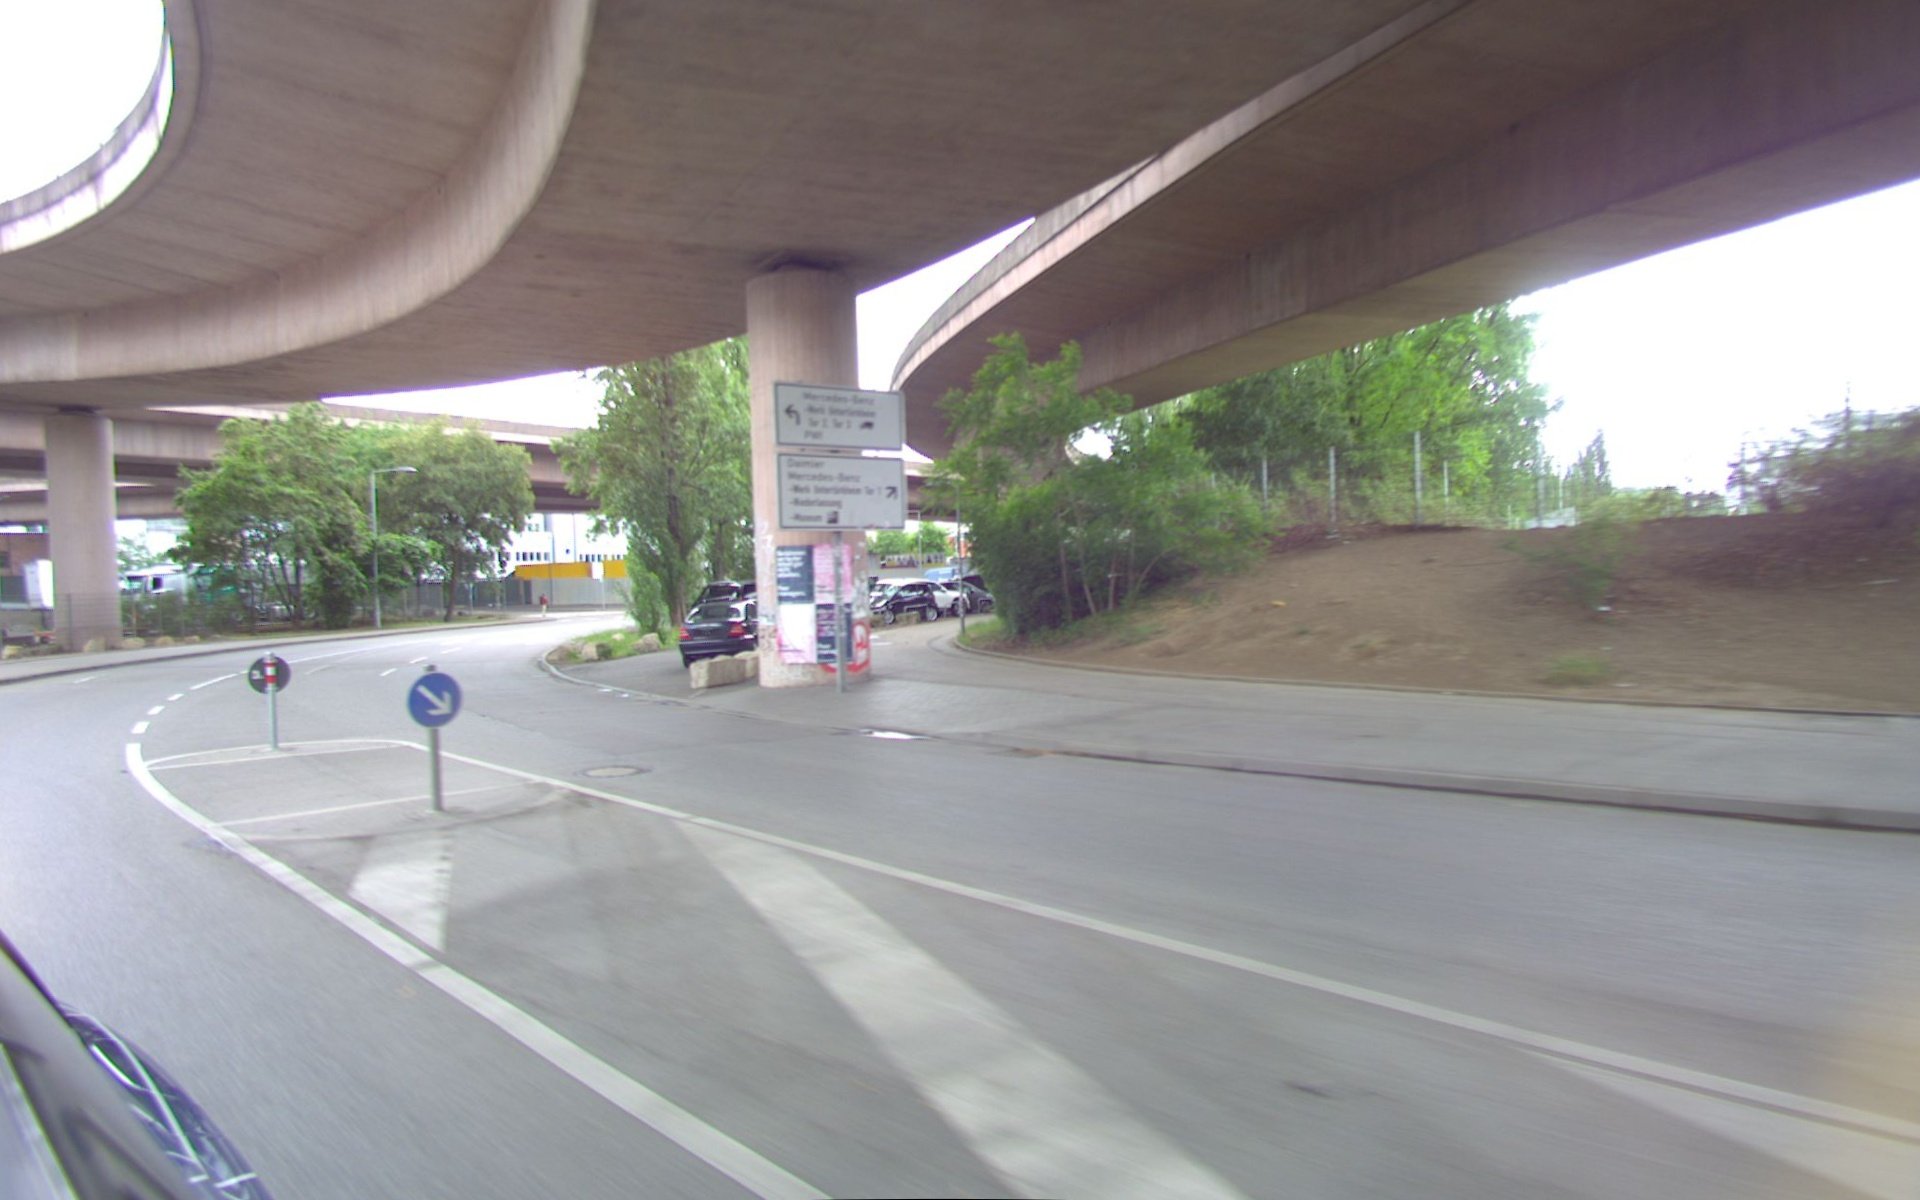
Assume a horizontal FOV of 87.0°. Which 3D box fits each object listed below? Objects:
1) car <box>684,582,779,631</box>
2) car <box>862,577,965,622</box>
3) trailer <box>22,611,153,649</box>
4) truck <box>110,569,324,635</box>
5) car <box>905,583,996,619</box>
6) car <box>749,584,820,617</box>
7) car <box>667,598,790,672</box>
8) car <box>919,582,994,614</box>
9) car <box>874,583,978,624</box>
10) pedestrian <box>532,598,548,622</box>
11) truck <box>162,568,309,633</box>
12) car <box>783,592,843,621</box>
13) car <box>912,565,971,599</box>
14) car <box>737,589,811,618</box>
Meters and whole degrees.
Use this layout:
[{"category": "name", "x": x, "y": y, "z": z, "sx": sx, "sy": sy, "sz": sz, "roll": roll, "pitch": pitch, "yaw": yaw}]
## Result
[{"category": "car", "x": -9.916, "y": 0.267, "z": 43.614, "sx": 1.828, "sy": 1.931, "sz": 4.981, "roll": -2, "pitch": 1, "yaw": -41}, {"category": "car", "x": -1.919, "y": -0.031, "z": 42.316, "sx": 3.998, "sy": 1.720, "sz": 1.739, "roll": -2, "pitch": 1, "yaw": -39}, {"category": "trailer", "x": -35.419, "y": 1.180, "z": 41.252, "sx": 1.583, "sy": 1.341, "sz": 4.383, "roll": -1, "pitch": 1, "yaw": -1}, {"category": "truck", "x": -42.892, "y": -0.003, "z": 59.002, "sx": 2.259, "sy": 3.524, "sz": 10.126, "roll": 0, "pitch": 1, "yaw": 26}, {"category": "car", "x": -0.414, "y": 0.012, "z": 46.006, "sx": 3.805, "sy": 1.475, "sz": 1.747, "roll": -2, "pitch": 1, "yaw": -35}, {"category": "car", "x": -9.656, "y": 0.003, "z": 55.446, "sx": 1.670, "sy": 1.686, "sz": 4.684, "roll": -2, "pitch": 2, "yaw": -41}, {"category": "car", "x": -5.398, "y": 0.747, "z": 24.274, "sx": 1.803, "sy": 1.441, "sz": 4.774, "roll": -4, "pitch": 1, "yaw": 0}, {"category": "car", "x": -0.176, "y": -0.120, "z": 49.257, "sx": 3.365, "sy": 1.399, "sz": 1.379, "roll": -2, "pitch": 1, "yaw": -29}, {"category": "car", "x": -1.322, "y": 0.113, "z": 40.081, "sx": 3.803, "sy": 1.475, "sz": 1.543, "roll": -2, "pitch": 1, "yaw": -31}, {"category": "pedestrian", "x": -30.042, "y": 0.696, "z": 72.453, "sx": 0.744, "sy": 1.693, "sz": 0.854, "roll": -1, "pitch": 1, "yaw": 3}, {"category": "truck", "x": -40.561, "y": -0.061, "z": 56.880, "sx": 2.261, "sy": 3.434, "sz": 6.350, "roll": 0, "pitch": 1, "yaw": 29}, {"category": "car", "x": -8.337, "y": 0.359, "z": 57.303, "sx": 1.670, "sy": 1.547, "sz": 3.633, "roll": -3, "pitch": 2, "yaw": -41}, {"category": "car", "x": -1.543, "y": -1.479, "z": 82.023, "sx": 1.799, "sy": 2.600, "sz": 5.701, "roll": 0, "pitch": 1, "yaw": -36}, {"category": "car", "x": -9.414, "y": 0.161, "z": 50.988, "sx": 1.669, "sy": 1.374, "sz": 4.524, "roll": -2, "pitch": 1, "yaw": -39}]
